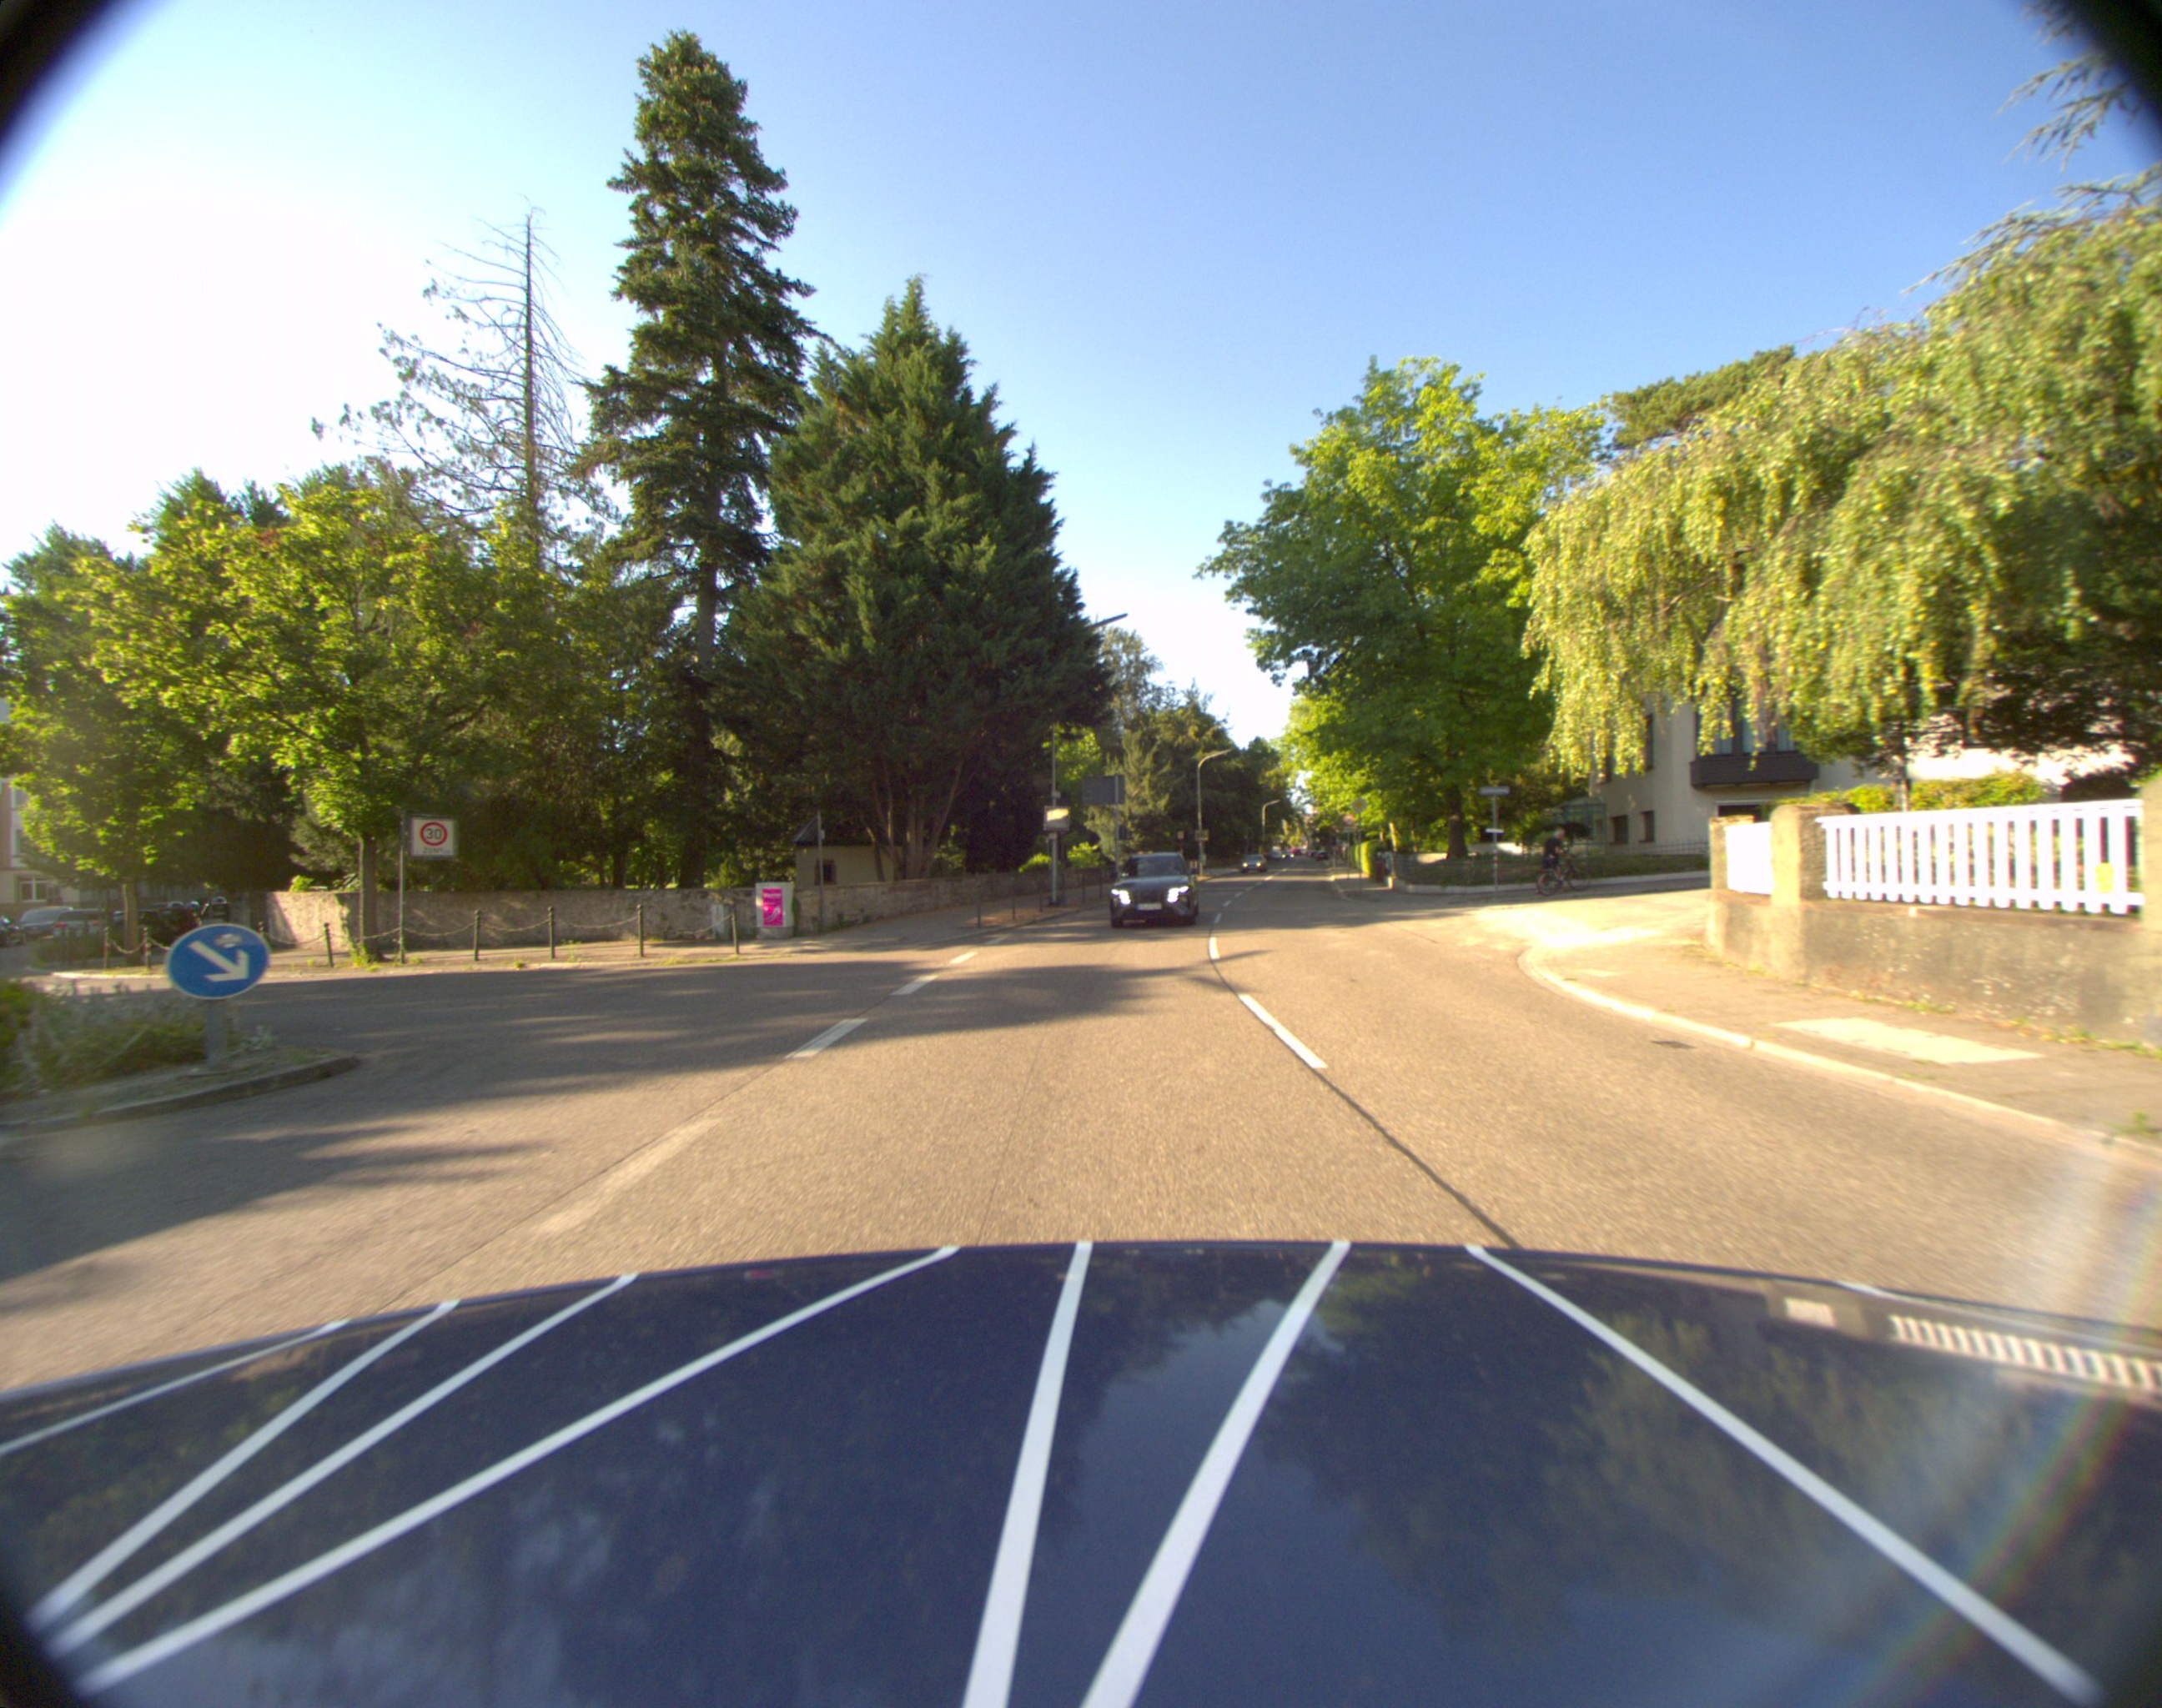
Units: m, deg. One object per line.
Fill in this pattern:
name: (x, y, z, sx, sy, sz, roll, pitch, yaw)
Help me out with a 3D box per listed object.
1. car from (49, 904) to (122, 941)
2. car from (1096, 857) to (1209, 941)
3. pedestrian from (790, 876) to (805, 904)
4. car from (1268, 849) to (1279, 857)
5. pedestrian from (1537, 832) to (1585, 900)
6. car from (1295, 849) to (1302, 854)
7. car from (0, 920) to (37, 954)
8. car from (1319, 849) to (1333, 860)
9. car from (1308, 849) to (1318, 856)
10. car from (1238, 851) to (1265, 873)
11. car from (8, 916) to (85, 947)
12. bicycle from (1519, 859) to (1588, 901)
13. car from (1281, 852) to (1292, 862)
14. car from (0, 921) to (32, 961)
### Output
car: (-47.475, 3.249, 36.316, 3.904, 1.514, 1.842, -3, 0, 41)
car: (1.815, 0.951, 17.785, 1.934, 1.676, 4.437, -1, 0, 14)
pedestrian: (-17.899, 2.294, 47.975, 0.590, 1.719, 0.599, -3, 0, 17)
car: (34.269, -0.148, 135.482, 1.821, 1.375, 3.939, 2, 2, 13)
pedestrian: (13.295, 0.329, 21.047, 0.944, 1.815, 0.554, -3, -1, -21)
car: (63.393, -0.693, 221.774, 1.821, 1.375, 3.939, 2, 2, 13)
car: (-51.195, 3.960, 35.717, 1.758, 1.402, 3.589, -2, 0, -42)
car: (37.214, 0.041, 115.490, 1.688, 1.425, 3.620, -5, -1, 16)
car: (52.032, -0.275, 170.197, 1.821, 1.375, 3.939, 2, 2, 13)
car: (13.947, 0.638, 62.071, 1.997, 1.630, 4.004, -4, 0, 14)
car: (-58.304, 4.326, 42.902, 1.758, 1.402, 3.589, -2, 0, -40)
bicycle: (13.160, 0.724, 21.154, 1.819, 1.036, 0.561, -3, -1, -20)
car: (42.122, 0.632, 155.827, 1.996, 2.002, 4.004, -2, 0, 14)
car: (-42.887, 3.432, 29.509, 1.758, 1.402, 3.589, -2, 0, -42)
